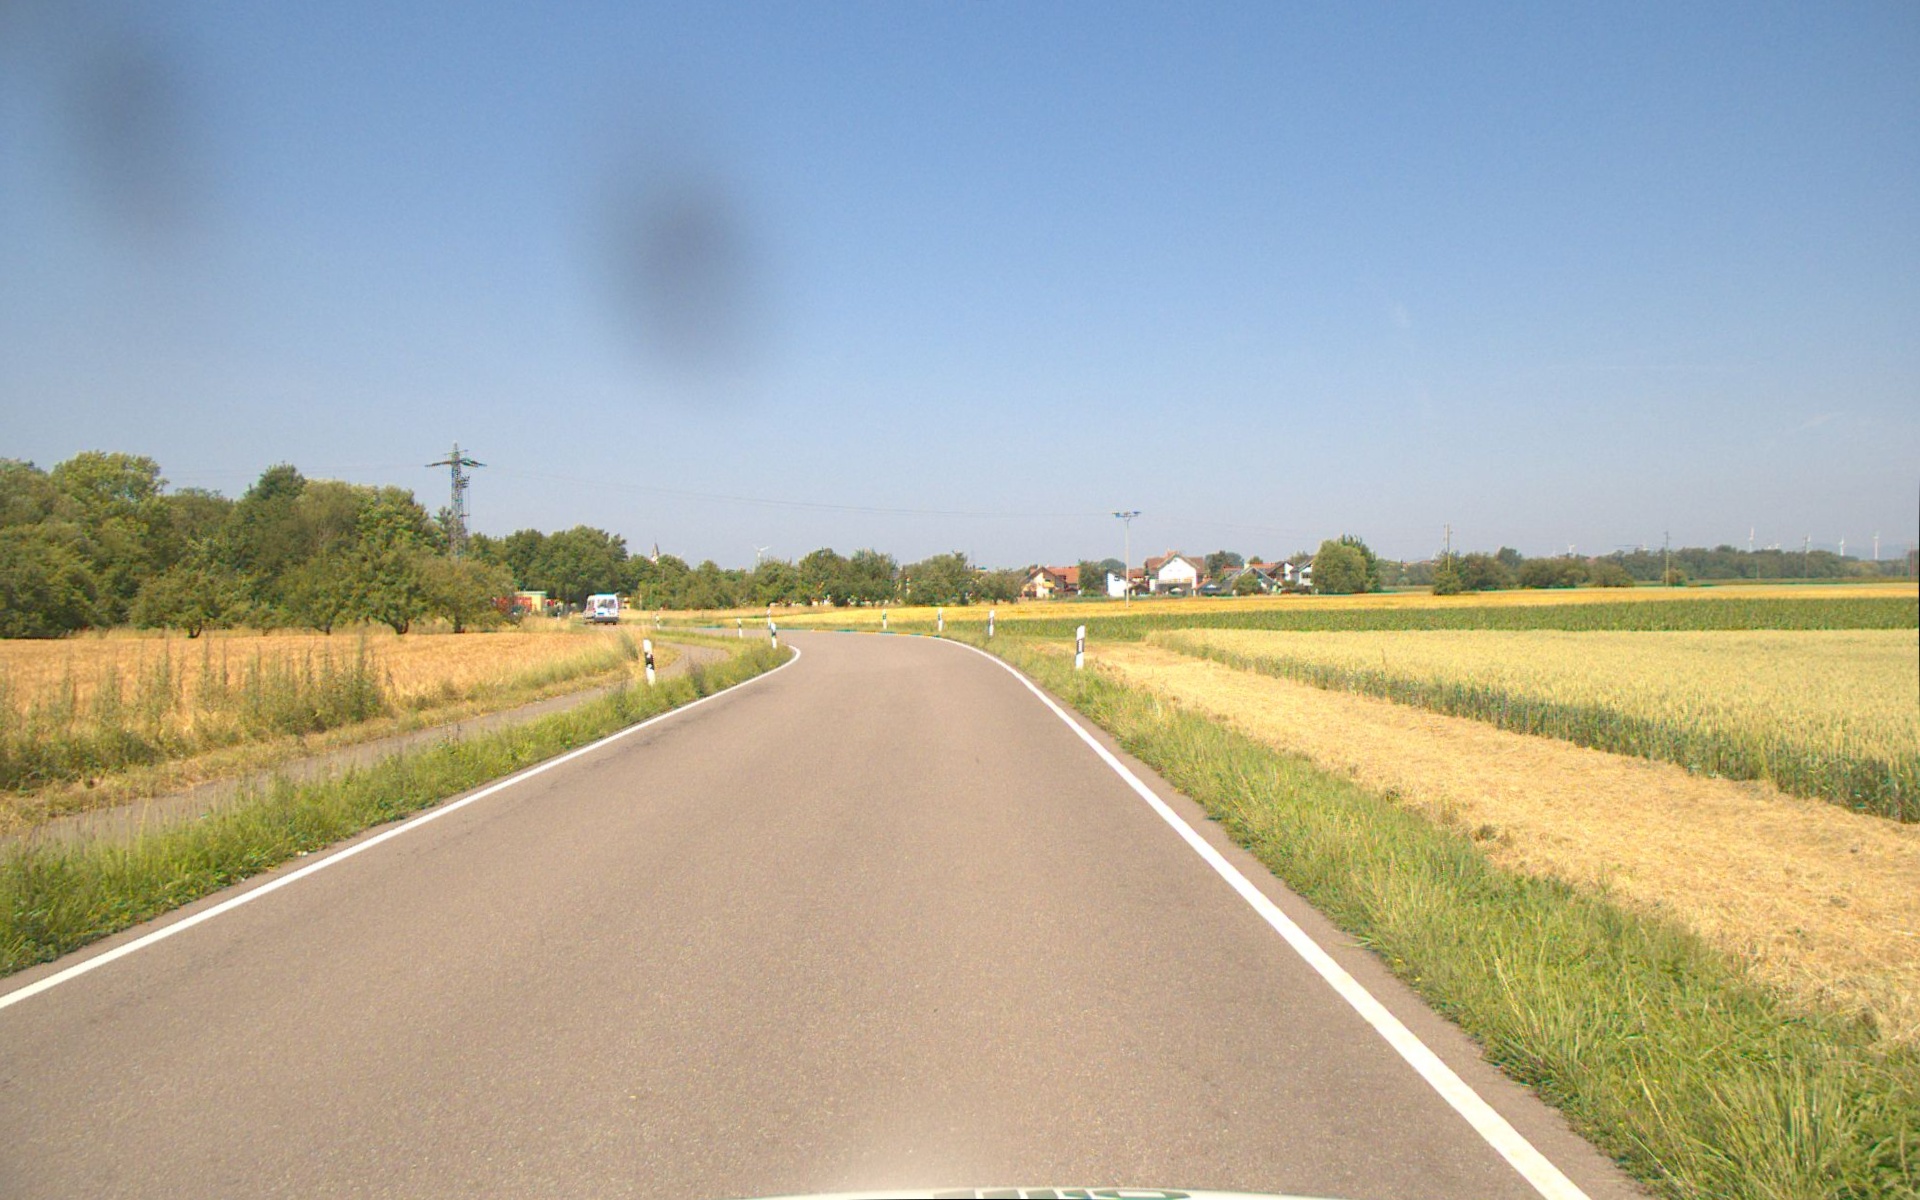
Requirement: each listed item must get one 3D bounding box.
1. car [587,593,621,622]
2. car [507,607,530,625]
[{"bbox_3d":[-29.664,0.630,137.714,1.966,2.306,4.694,-1,0,-22],"label":"car"},{"bbox_3d":[-44.436,1.626,166.434,1.860,1.744,3.989,-3,0,-21],"label":"car"}]
